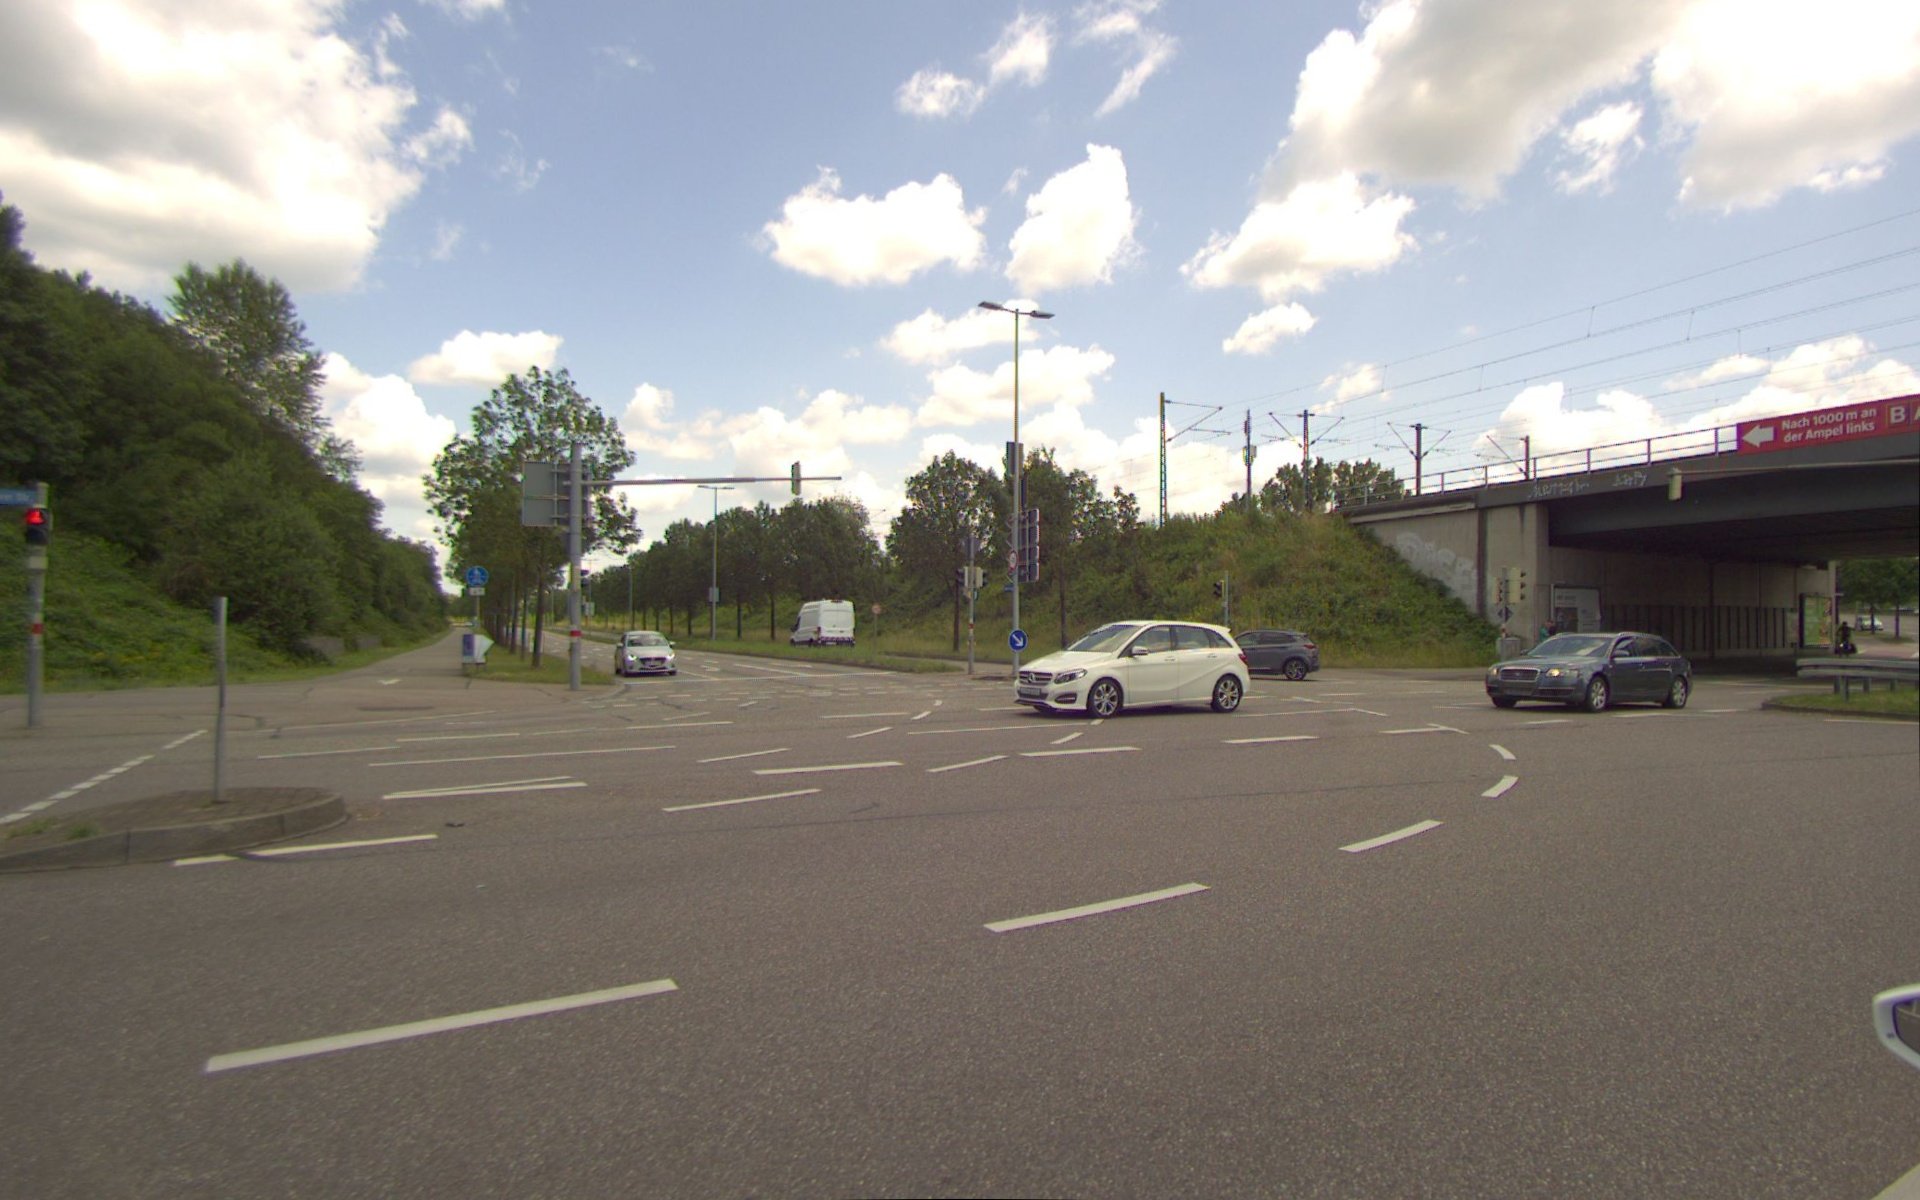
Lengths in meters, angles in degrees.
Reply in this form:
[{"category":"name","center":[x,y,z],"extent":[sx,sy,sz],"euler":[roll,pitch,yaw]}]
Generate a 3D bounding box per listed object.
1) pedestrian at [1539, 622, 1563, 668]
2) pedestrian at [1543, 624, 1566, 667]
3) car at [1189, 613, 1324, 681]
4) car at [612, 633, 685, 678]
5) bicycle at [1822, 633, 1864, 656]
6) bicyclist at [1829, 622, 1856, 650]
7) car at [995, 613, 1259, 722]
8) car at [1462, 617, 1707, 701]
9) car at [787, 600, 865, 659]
[{"category":"pedestrian","center":[22.299,1.698,37.907],"extent":[0.550,1.703,0.587],"euler":[1,-1,-32]},{"category":"pedestrian","center":[22.882,1.729,38.639],"extent":[0.579,1.646,0.552],"euler":[1,-1,-29]},{"category":"car","center":[9.303,1.436,31.462],"extent":[3.921,2.040,2.000],"euler":[0,-2,20]},{"category":"car","center":[-10.738,1.850,34.441],"extent":[1.972,1.397,4.299],"euler":[1,-2,-23]},{"category":"bicycle","center":[45.000,2.267,51.196],"extent":[2.251,1.158,0.678],"euler":[2,0,-23]},{"category":"bicyclist","center":[44.979,1.837,51.183],"extent":[0.911,1.426,0.680],"euler":[2,0,-23]},{"category":"car","center":[2.898,1.091,17.144],"extent":[4.341,1.653,1.797],"euler":[1,-2,-31]},{"category":"car","center":[11.819,1.077,18.936],"extent":[4.725,1.407,1.965],"euler":[1,-3,-31]},{"category":"car","center":[-6.937,1.532,51.469],"extent":[2.356,2.859,5.380],"euler":[1,-2,-26]}]
